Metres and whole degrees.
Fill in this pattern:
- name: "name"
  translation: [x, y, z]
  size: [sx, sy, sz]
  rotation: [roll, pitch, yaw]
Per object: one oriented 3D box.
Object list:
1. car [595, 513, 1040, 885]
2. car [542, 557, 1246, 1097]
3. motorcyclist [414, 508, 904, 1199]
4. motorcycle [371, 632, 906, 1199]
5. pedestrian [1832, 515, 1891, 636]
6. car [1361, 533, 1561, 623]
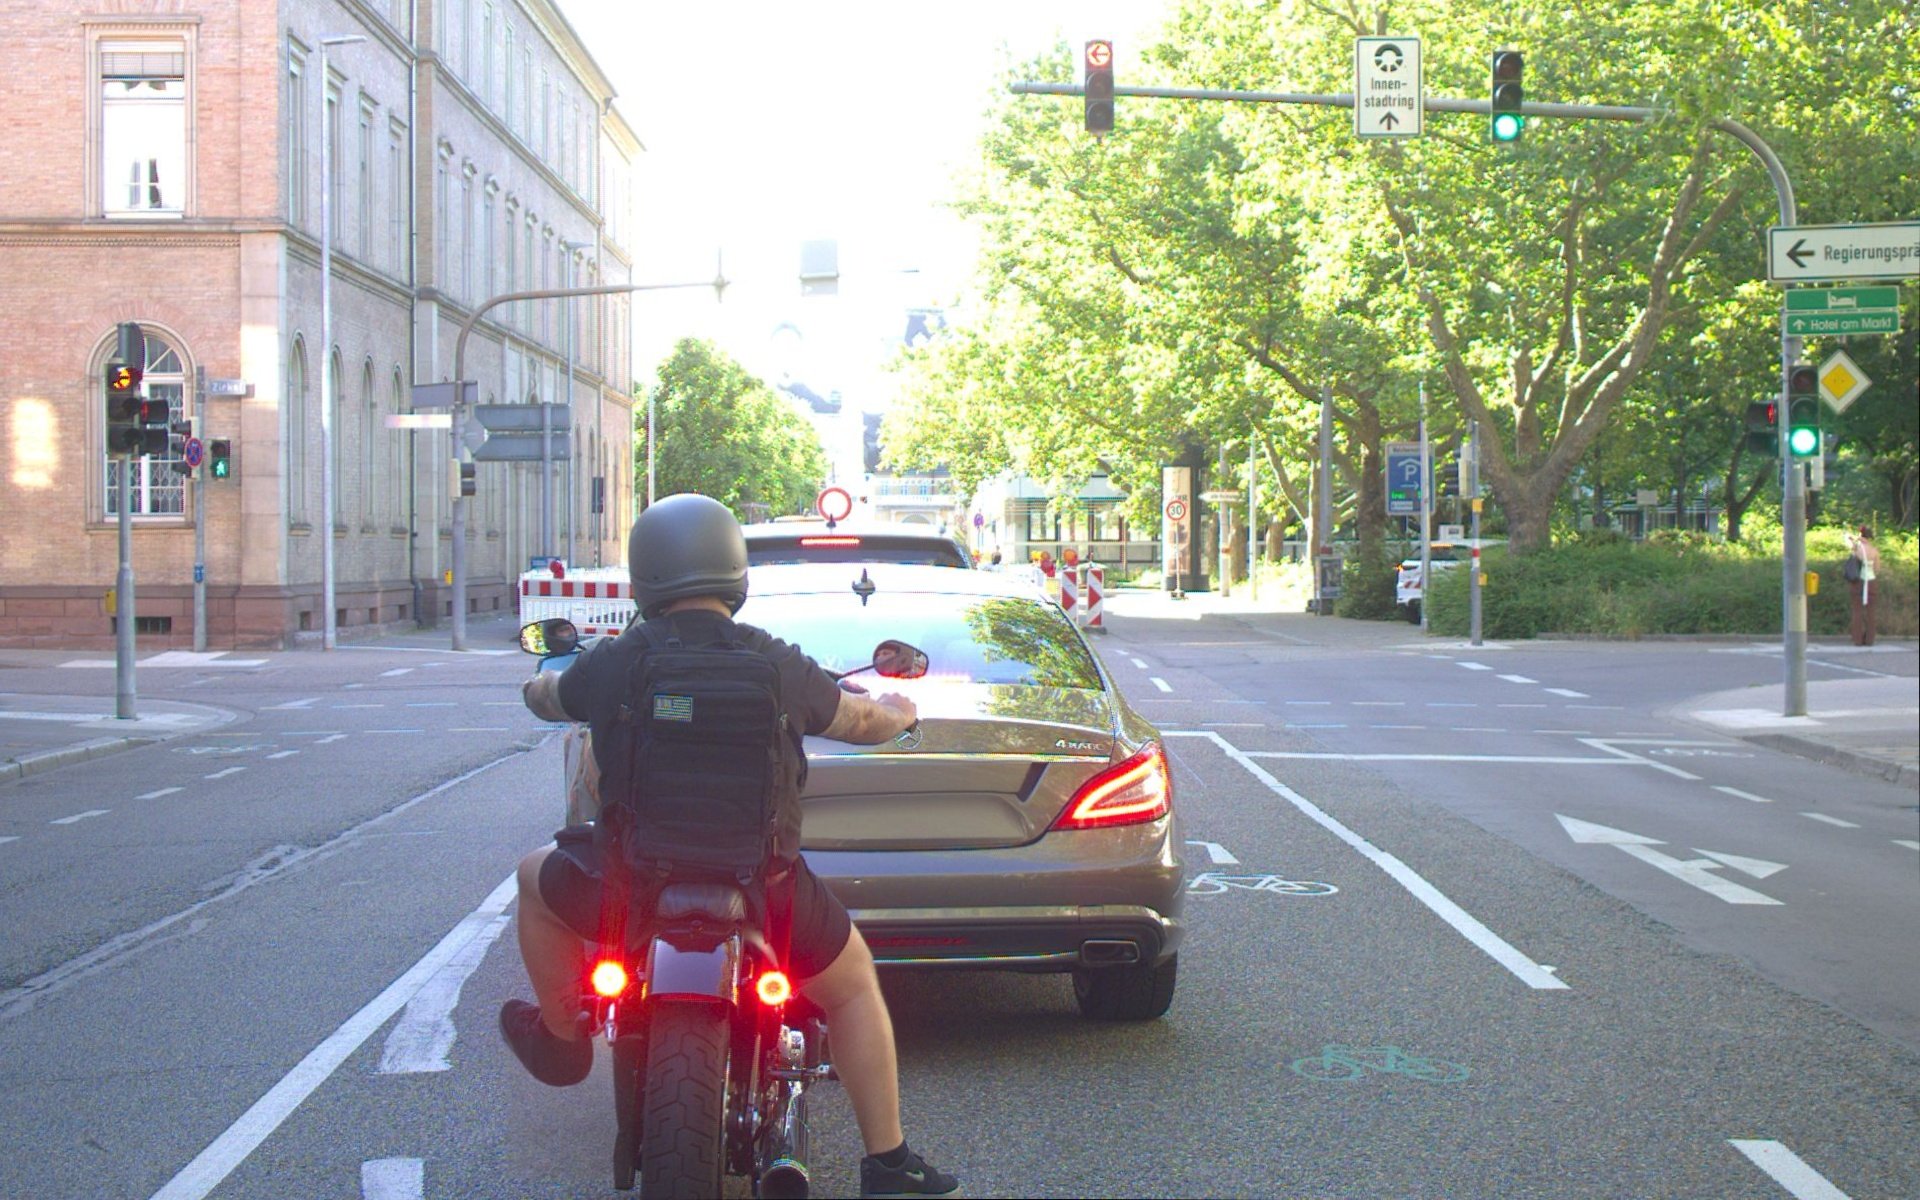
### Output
- name: "car"
  translation: [-0.668, 0.429, 17.565]
  size: [1.993, 1.660, 4.000]
  rotation: [1, 1, -1]
- name: "car"
  translation: [-0.434, 0.587, 11.643]
  size: [1.869, 1.439, 4.431]
  rotation: [0, 1, -8]
- name: "motorcyclist"
  translation: [-0.616, 0.590, 7.558]
  size: [0.980, 1.573, 1.248]
  rotation: [0, 1, -1]
- name: "motorcycle"
  translation: [-0.614, 0.740, 7.585]
  size: [0.980, 1.271, 2.407]
  rotation: [0, 1, -1]
- name: "pedestrian"
  translation: [13.264, -0.363, 50.585]
  size: [0.678, 1.766, 0.616]
  rotation: [1, 0, 29]
- name: "car"
  translation: [10.116, -0.447, 69.219]
  size: [1.947, 1.702, 4.473]
  rotation: [2, 1, 39]
